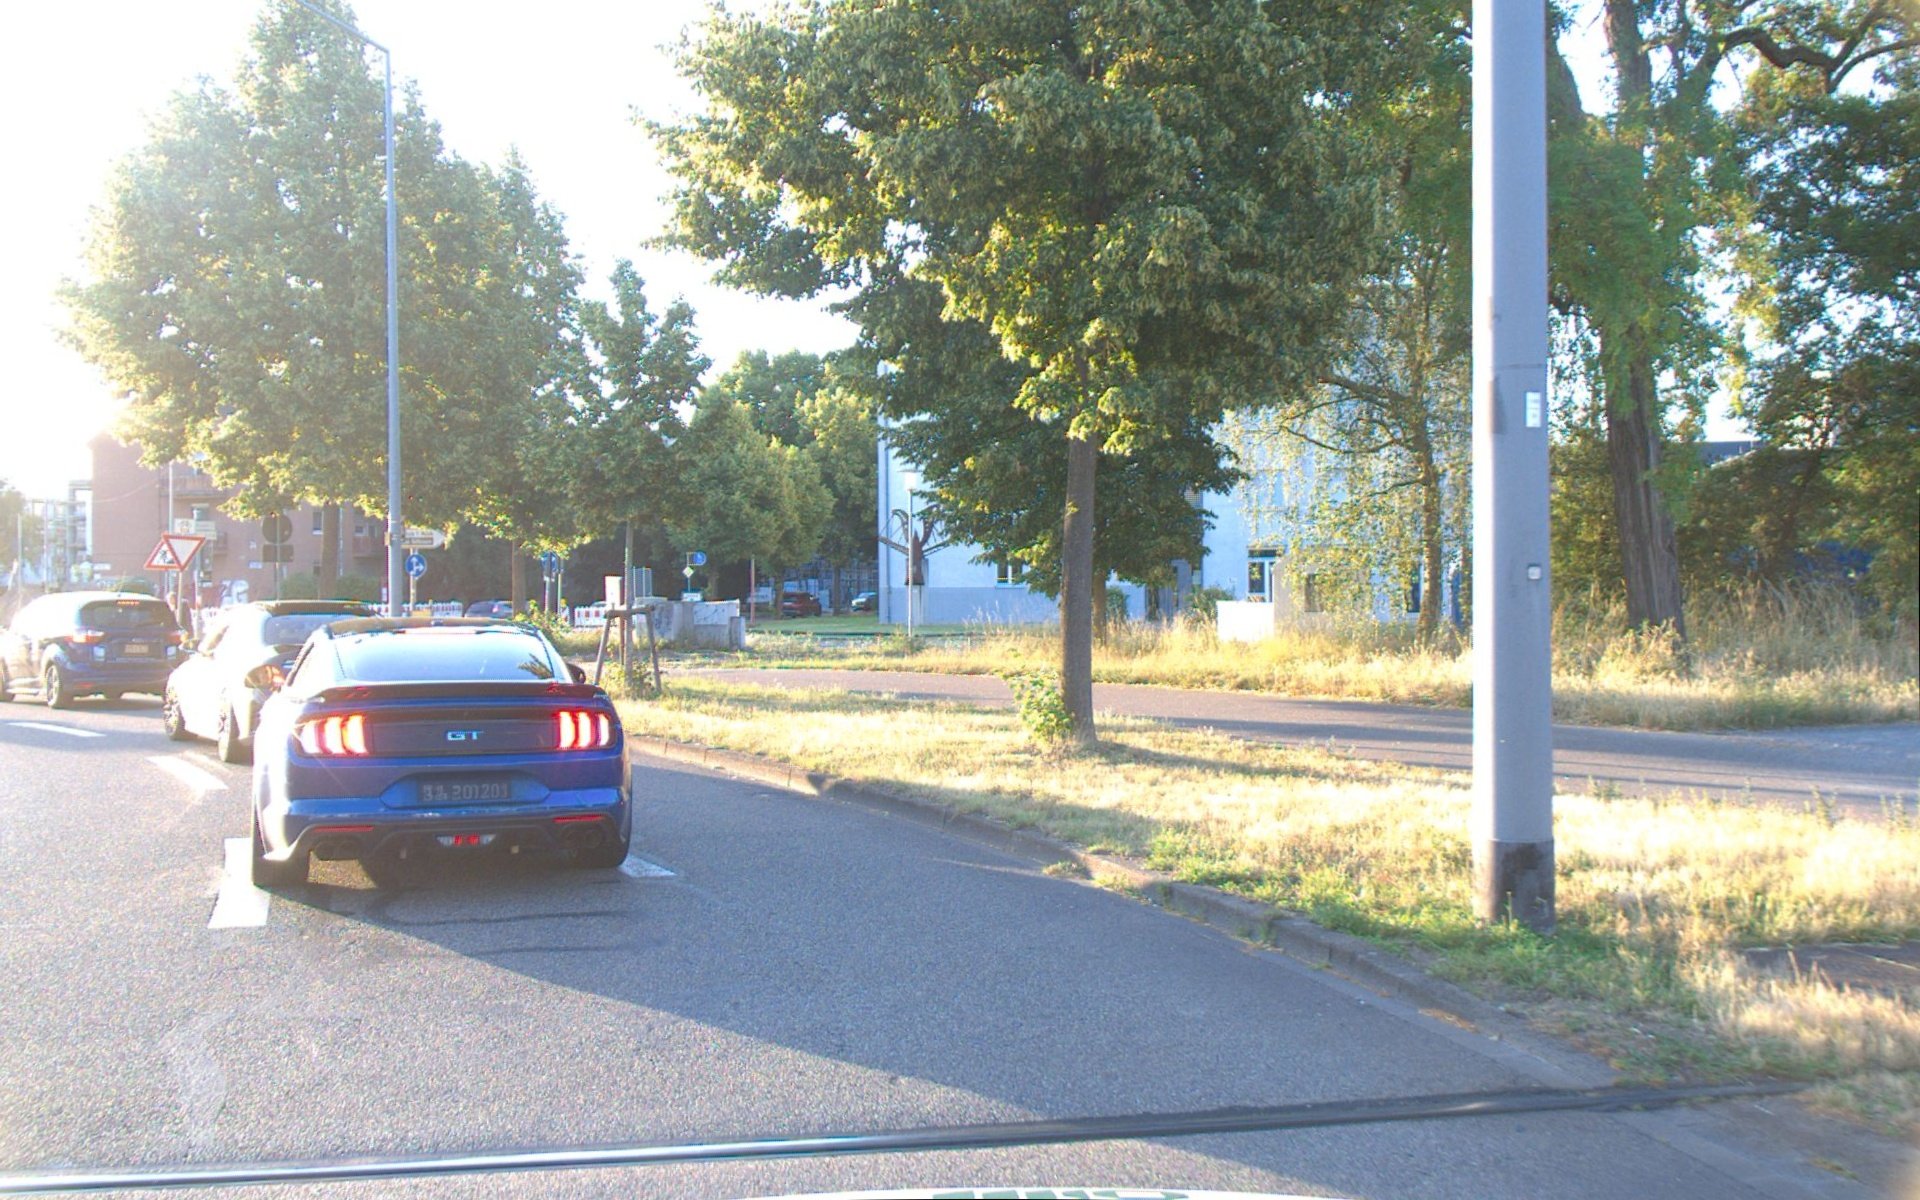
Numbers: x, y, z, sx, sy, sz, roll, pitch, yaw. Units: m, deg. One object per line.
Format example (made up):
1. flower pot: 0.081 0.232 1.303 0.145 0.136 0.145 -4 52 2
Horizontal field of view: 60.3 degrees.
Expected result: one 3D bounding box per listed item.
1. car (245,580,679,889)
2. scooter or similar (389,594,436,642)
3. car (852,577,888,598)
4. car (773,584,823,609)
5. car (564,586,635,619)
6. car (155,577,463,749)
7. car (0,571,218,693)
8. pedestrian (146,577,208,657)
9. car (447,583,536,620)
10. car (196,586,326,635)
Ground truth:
1. car: -3.170 0.605 9.864 1.925 1.365 4.637 2 0 -23
2. scooter or similar: -14.645 0.467 44.220 1.113 1.260 0.436 -1 0 -39
3. car: -6.527 -0.901 120.401 1.836 1.426 3.920 0 1 10
4. car: -9.889 -0.236 101.485 1.836 1.426 3.920 0 1 14
5. car: -16.608 0.093 76.319 1.836 1.426 3.920 0 1 10
6. car: -6.537 0.528 16.313 1.934 1.452 4.377 1 0 -34
7. car: -12.708 0.453 24.355 4.008 1.630 1.944 -1 -1 44
8. pedestrian: -16.971 0.367 35.871 0.865 1.715 0.847 0 0 16
9. car: -18.713 0.046 66.236 1.836 1.426 3.920 -1 1 11
10. car: -21.324 0.293 50.611 1.836 1.426 3.920 0 1 9
